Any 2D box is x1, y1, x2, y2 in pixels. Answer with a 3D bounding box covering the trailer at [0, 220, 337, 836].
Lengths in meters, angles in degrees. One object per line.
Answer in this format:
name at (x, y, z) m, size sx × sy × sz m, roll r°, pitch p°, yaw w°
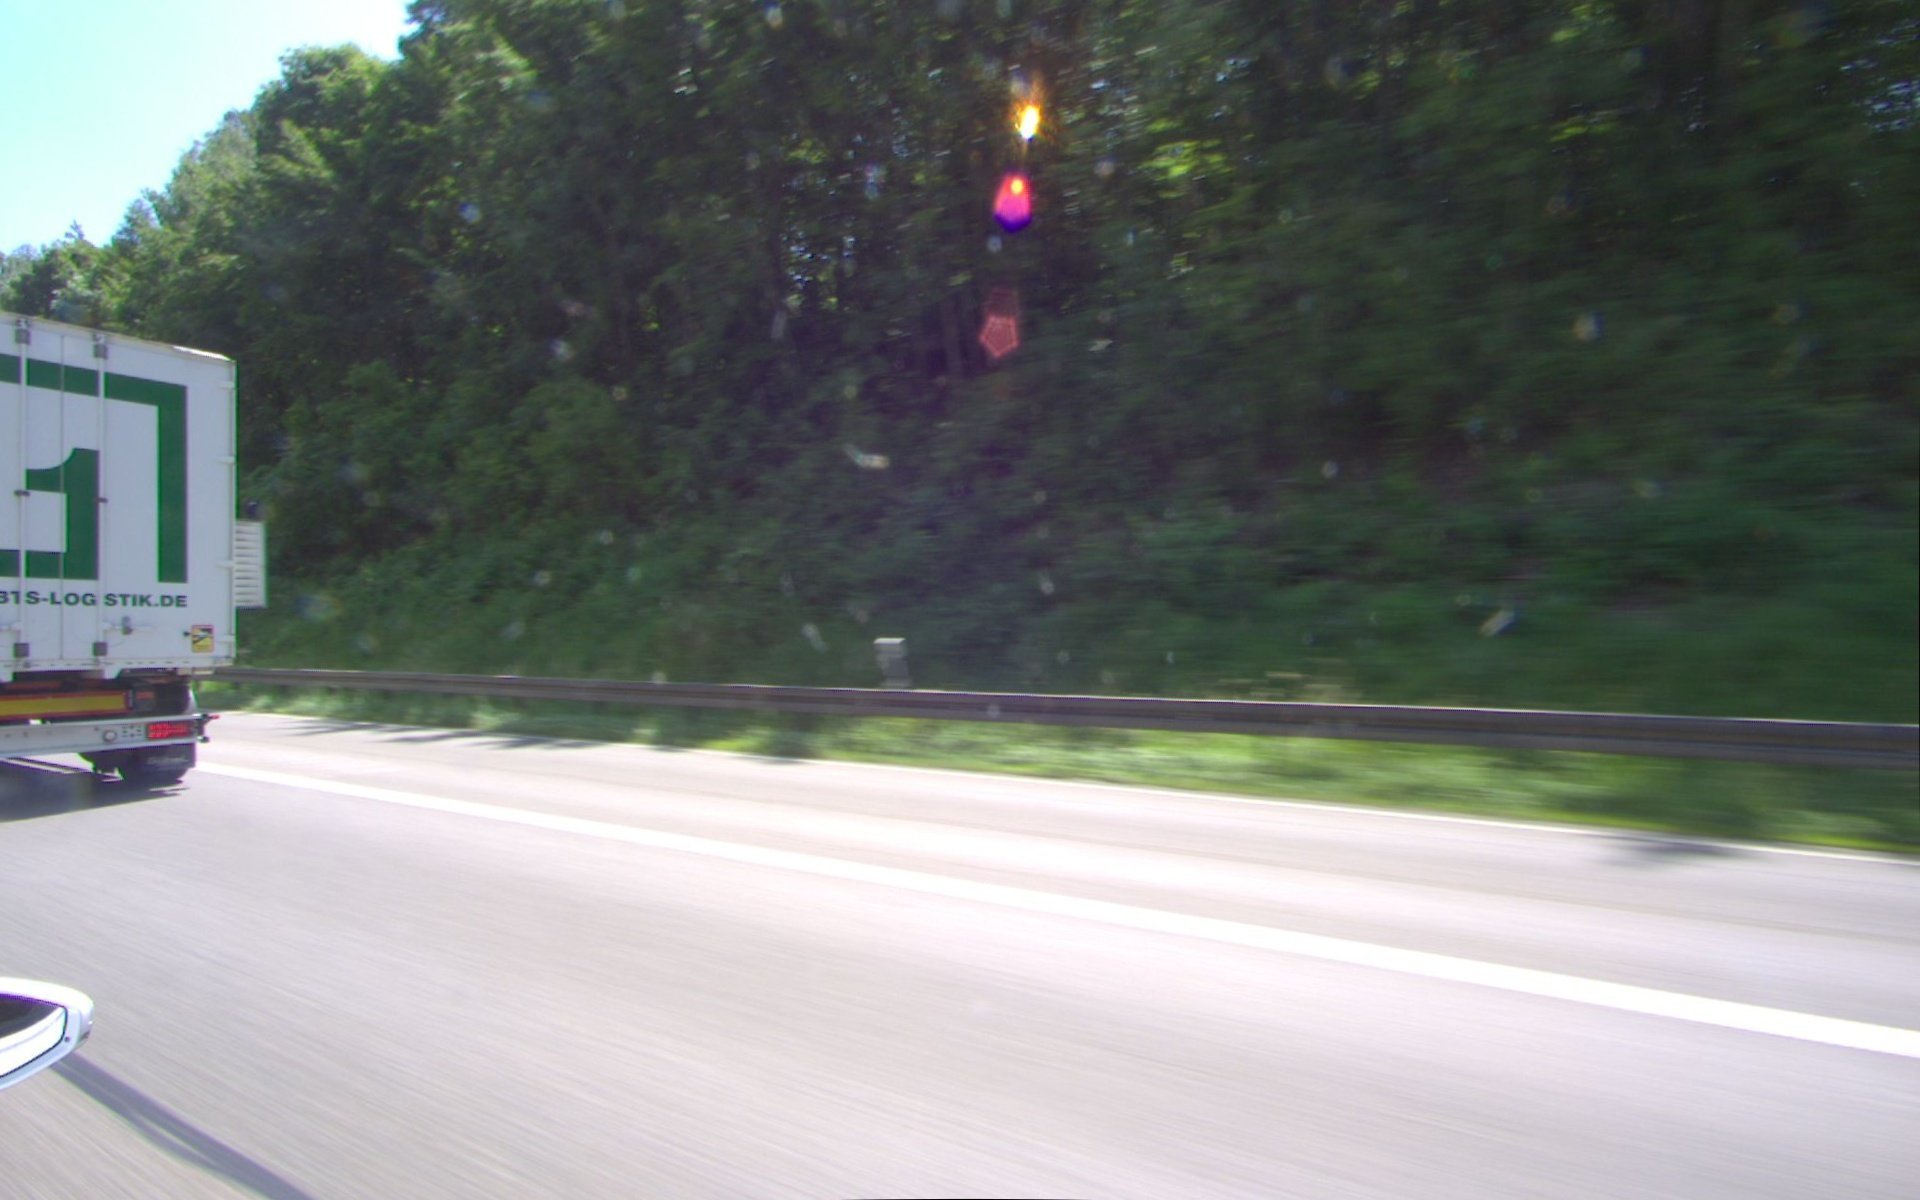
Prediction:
trailer at (-10.335, -0.397, 10.257) m, size 9.921 × 4.229 × 2.675 m, roll -1°, pitch -1°, yaw 32°
